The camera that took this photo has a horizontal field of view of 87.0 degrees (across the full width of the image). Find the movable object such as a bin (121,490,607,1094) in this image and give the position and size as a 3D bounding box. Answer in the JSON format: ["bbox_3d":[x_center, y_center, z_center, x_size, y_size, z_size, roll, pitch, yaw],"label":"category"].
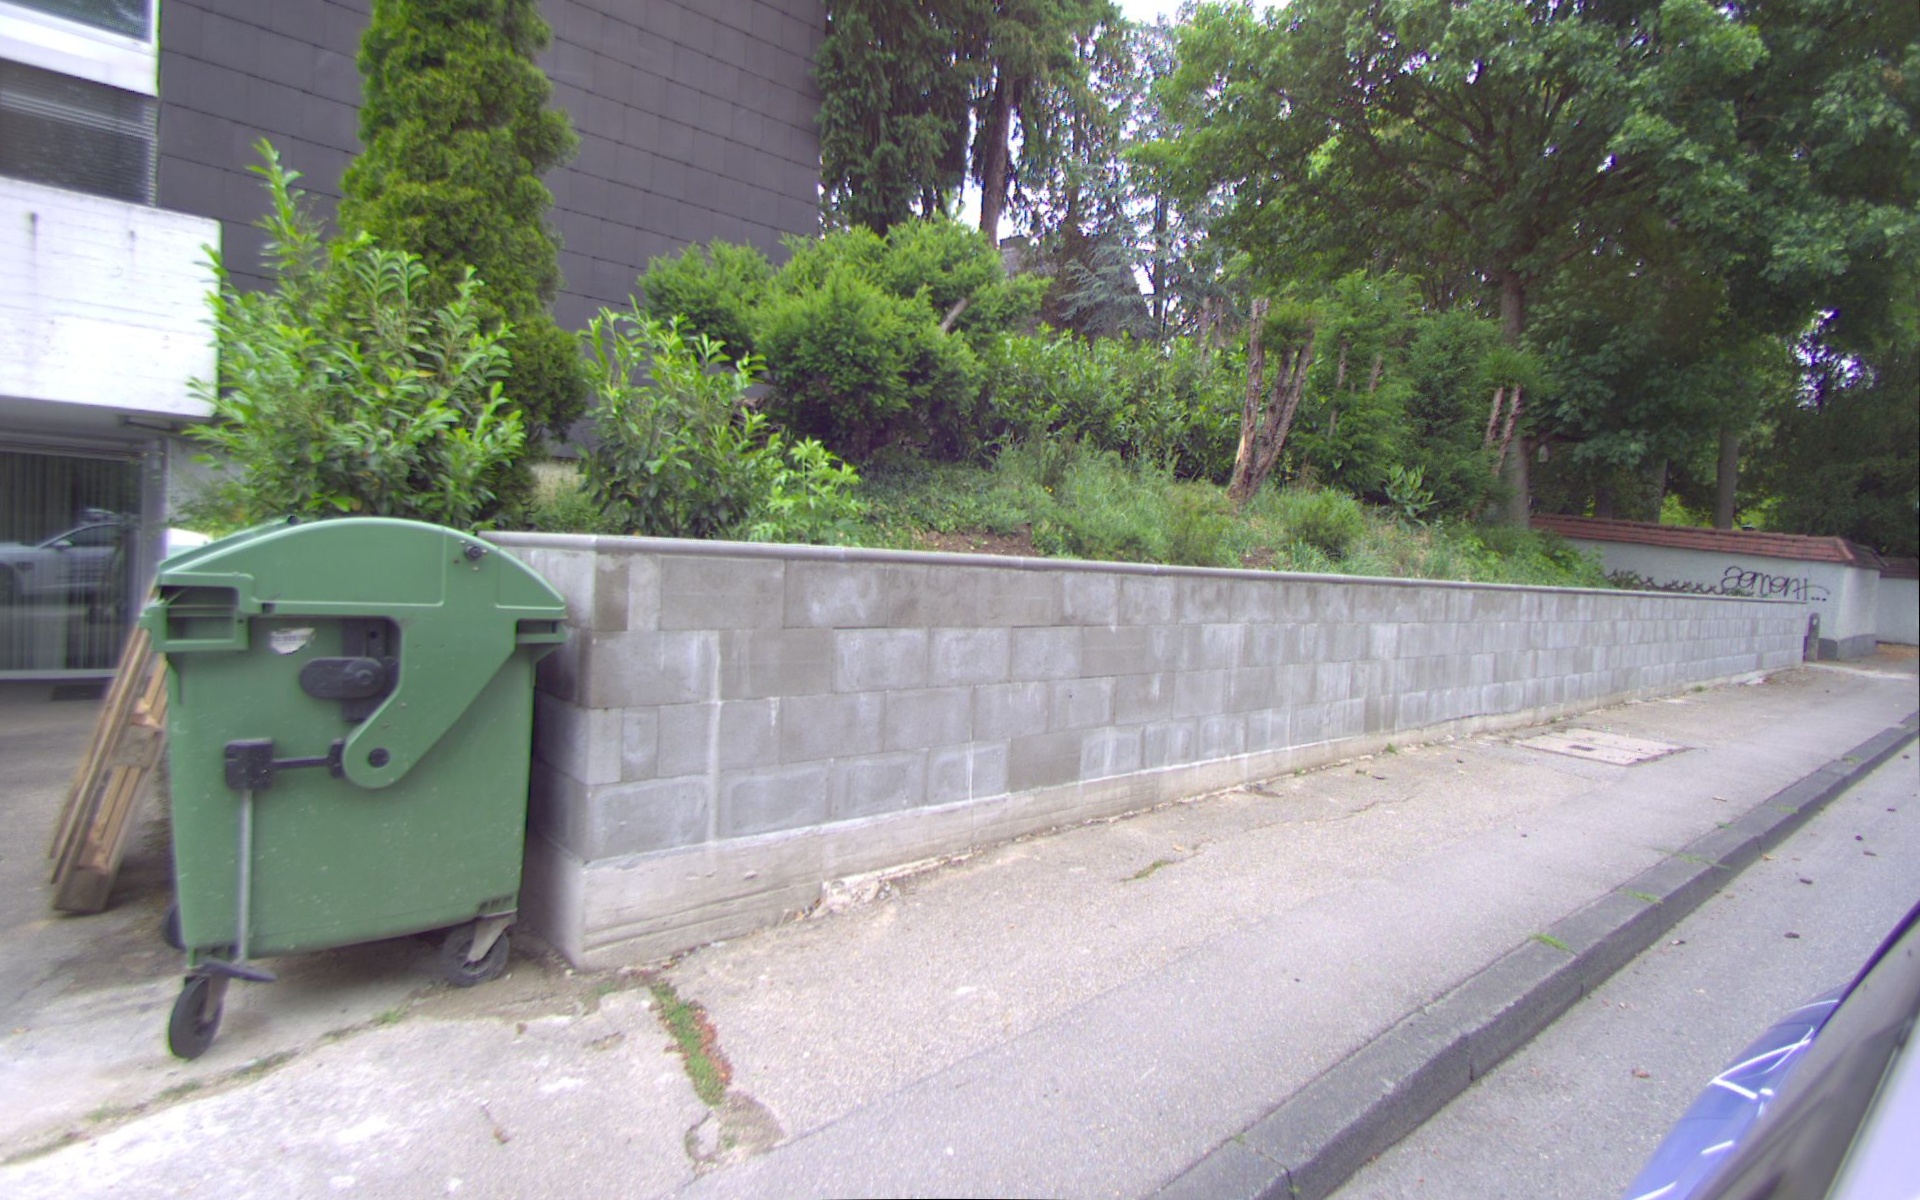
[{"bbox_3d":[-1.987,0.418,3.310,1.160,1.468,1.303,0,4,-40],"label":"movable object such as a bin"}]
